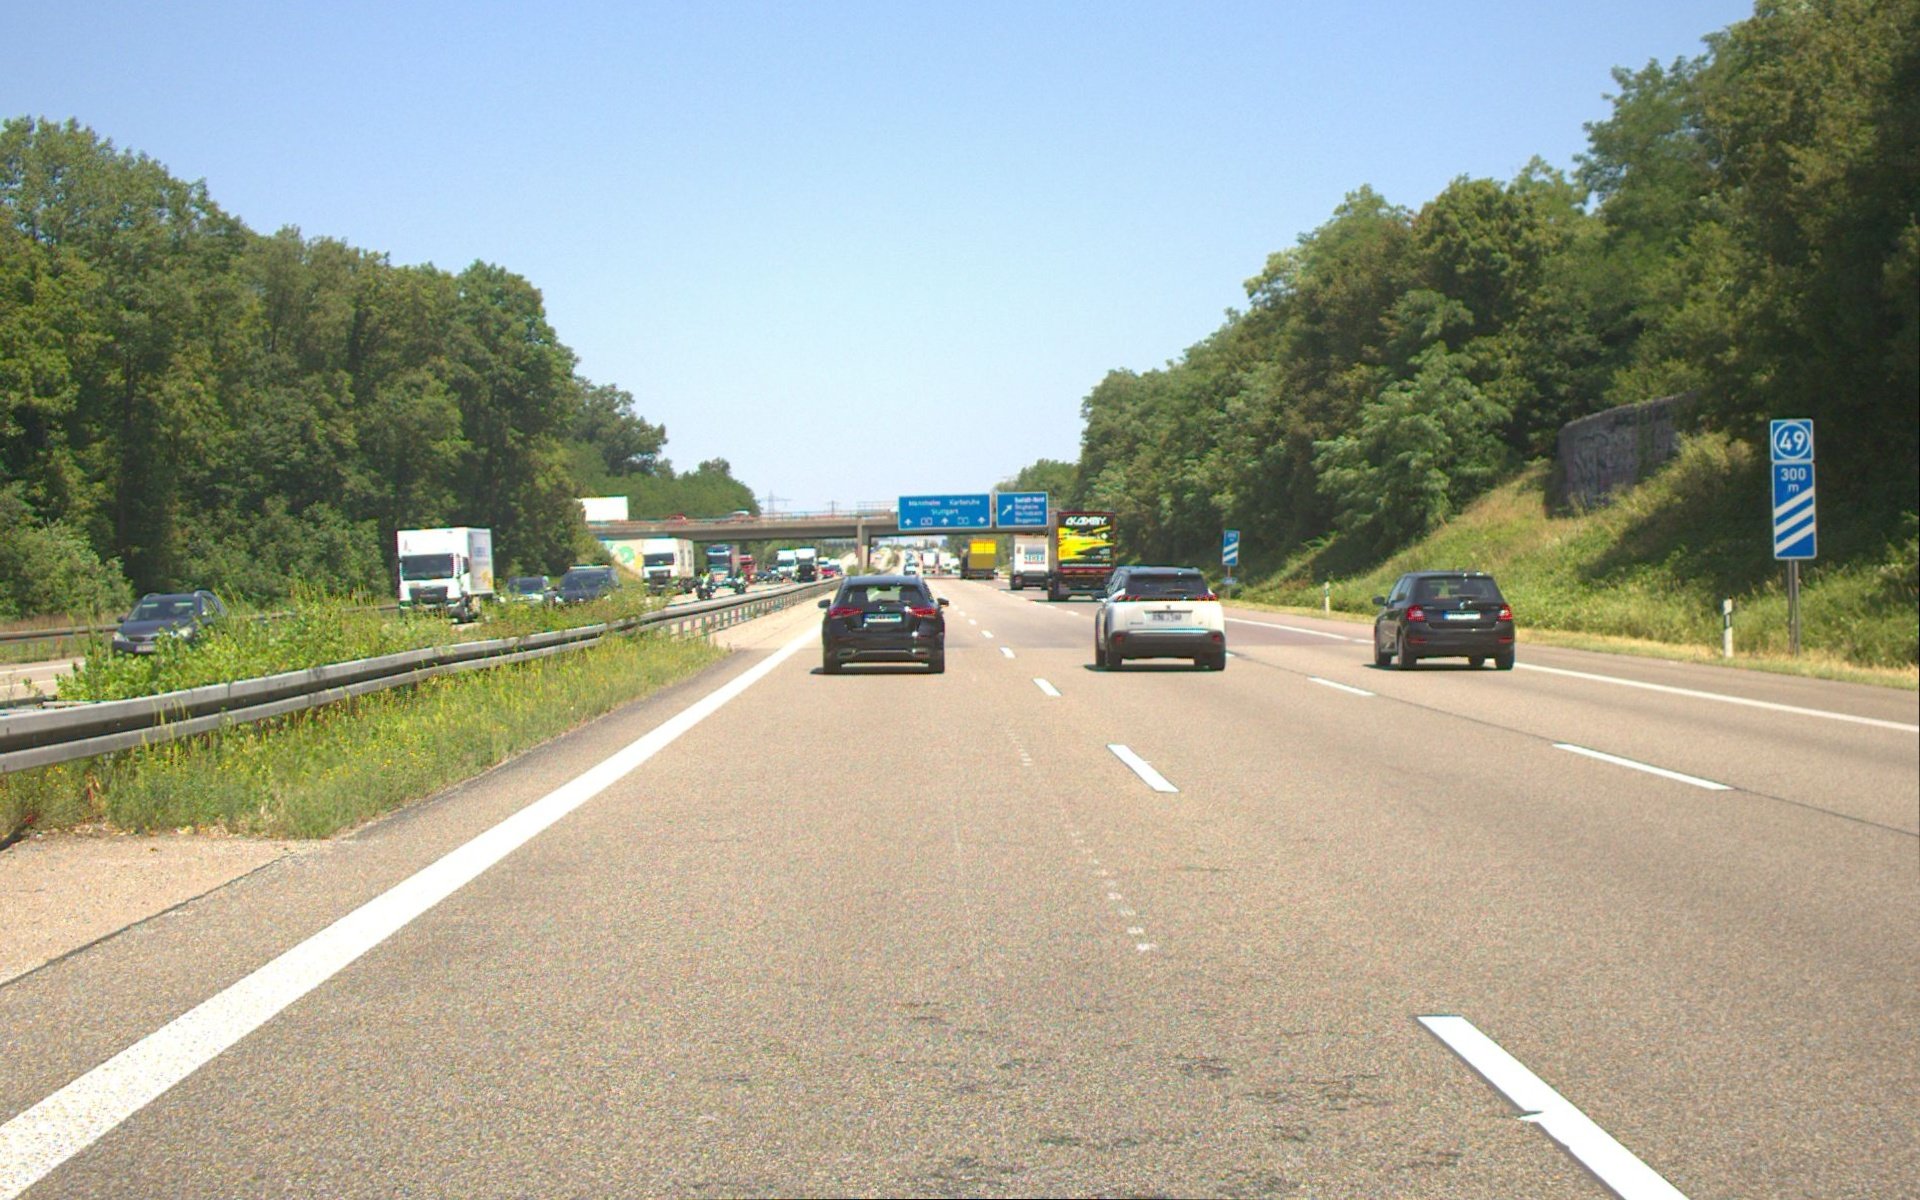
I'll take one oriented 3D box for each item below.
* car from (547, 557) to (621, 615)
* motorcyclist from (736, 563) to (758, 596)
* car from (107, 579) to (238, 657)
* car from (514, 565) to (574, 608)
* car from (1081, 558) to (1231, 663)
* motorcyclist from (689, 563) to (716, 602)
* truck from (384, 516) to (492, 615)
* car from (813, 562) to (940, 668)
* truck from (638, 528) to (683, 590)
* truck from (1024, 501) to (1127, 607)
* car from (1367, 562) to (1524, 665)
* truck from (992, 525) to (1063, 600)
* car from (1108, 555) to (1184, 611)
[{"bbox_3d":[-11.113,-0.442,101.909,1.799,1.690,4.242,0,1,-1],"label":"car"},{"bbox_3d":[-11.935,-1.138,192.333,1.152,1.809,1.027,-1,0,-1],"label":"motorcyclist"},{"bbox_3d":[-16.338,0.350,71.511,1.799,1.527,4.679,0,1,-2],"label":"car"},{"bbox_3d":[-14.976,-0.499,124.058,1.799,1.527,4.242,0,1,-2],"label":"car"},{"bbox_3d":[2.926,0.130,52.054,1.899,1.527,4.242,0,1,-2],"label":"car"},{"bbox_3d":[-12.183,-0.834,162.587,1.152,1.809,1.027,-1,0,-1],"label":"motorcyclist"},{"bbox_3d":[-20.200,-1.357,133.709,2.796,3.620,10.698,-1,1,-2],"label":"truck"},{"bbox_3d":[-1.250,0.185,51.031,1.799,1.497,4.242,0,1,-2],"label":"car"},{"bbox_3d":[-21.900,-2.990,251.880,2.753,4.392,12.652,1,0,-3],"label":"truck"},{"bbox_3d":[5.163,-2.050,157.520,3.647,4.574,15.768,1,0,-2],"label":"truck"},{"bbox_3d":[7.187,0.171,51.192,1.789,1.456,3.949,0,1,0],"label":"car"},{"bbox_3d":[4.258,-2.391,221.622,3.647,4.574,17.249,1,0,-2],"label":"truck"},{"bbox_3d":[6.033,-0.557,111.958,2.076,1.745,4.242,-1,1,-2],"label":"car"}]
